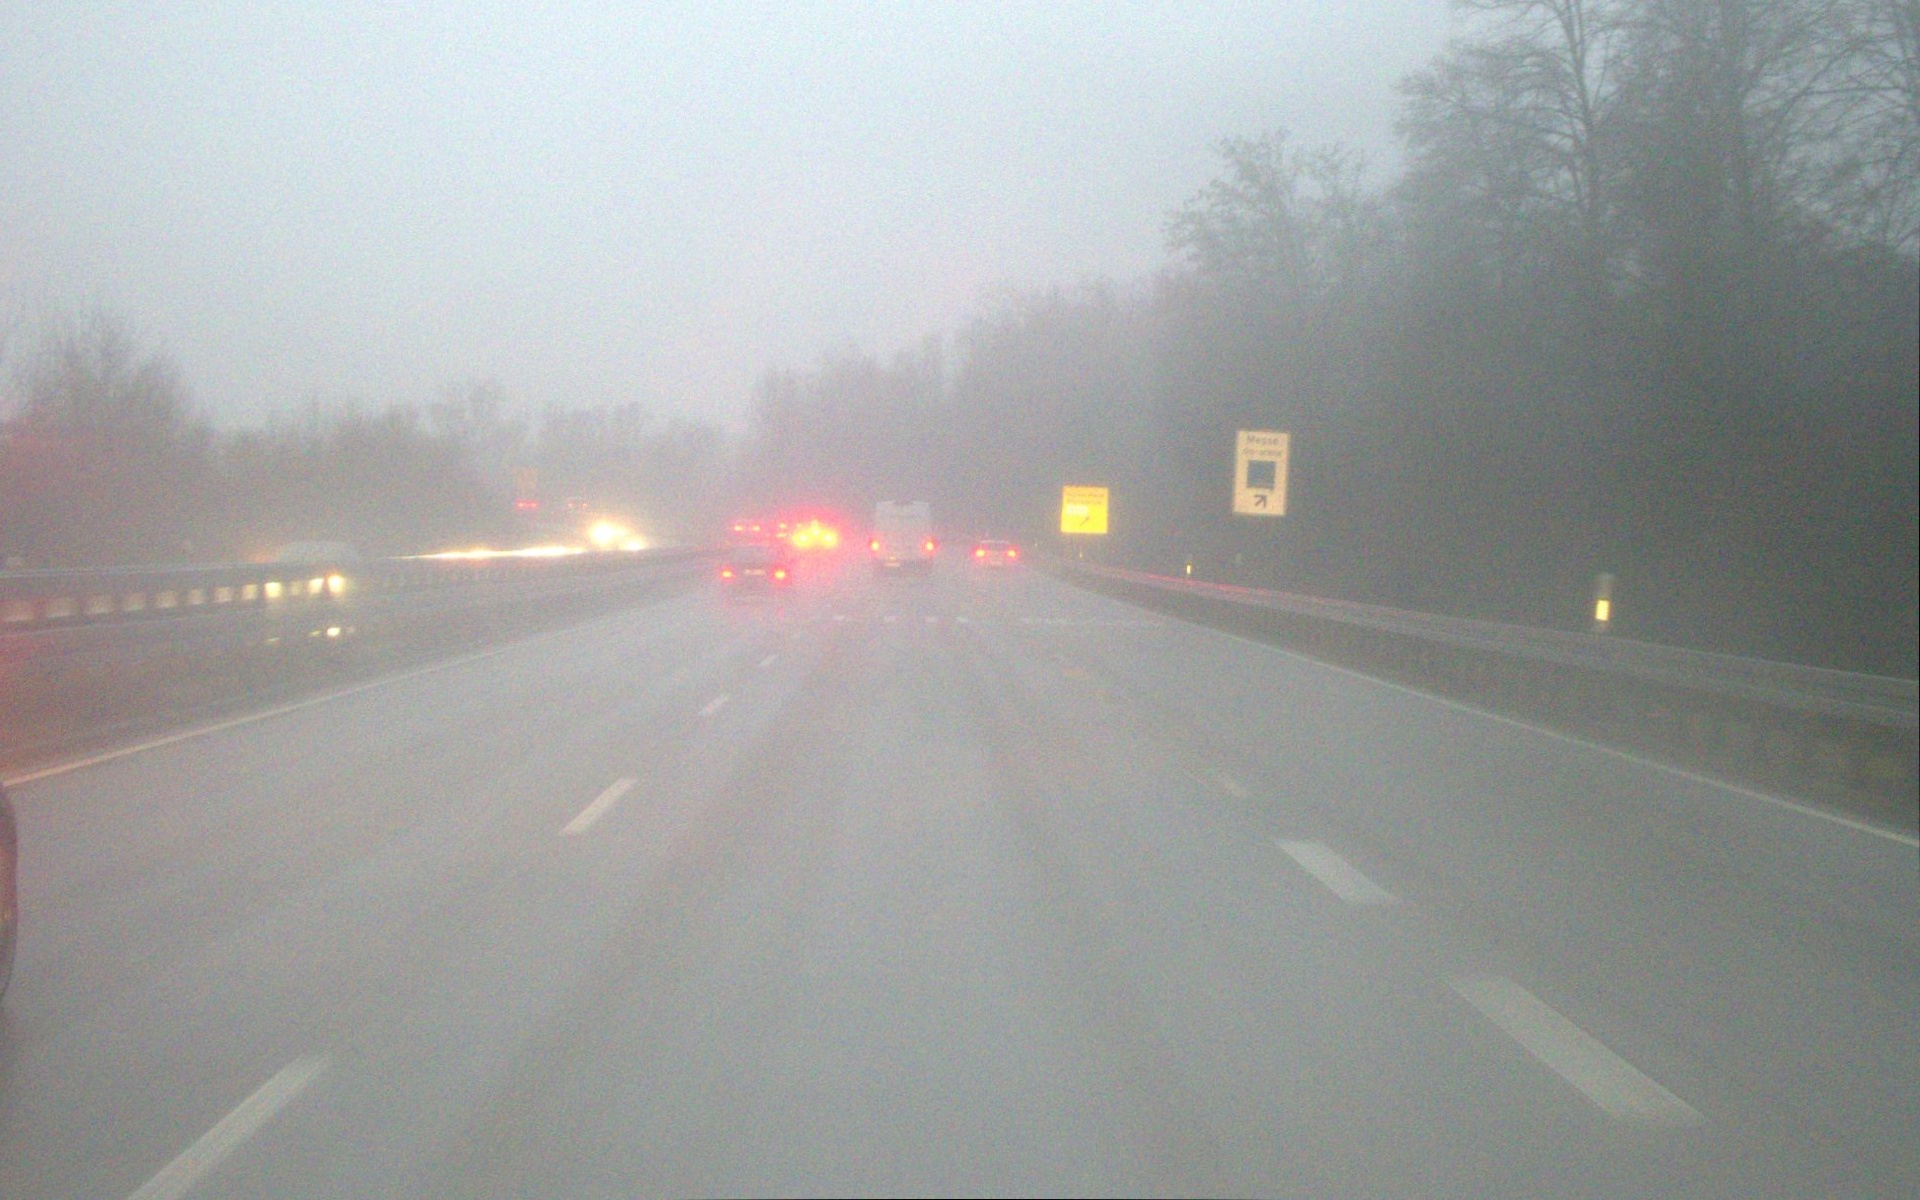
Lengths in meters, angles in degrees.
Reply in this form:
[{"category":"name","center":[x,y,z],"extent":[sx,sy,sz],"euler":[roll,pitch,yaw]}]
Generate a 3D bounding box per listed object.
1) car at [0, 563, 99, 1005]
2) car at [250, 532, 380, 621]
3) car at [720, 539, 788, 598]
[{"category":"car","center":[-3.804,0.568,10.058],"extent":[1.625,1.387,4.000],"euler":[2,1,-2]},{"category":"car","center":[-12.136,-0.466,64.906],"extent":[1.740,1.634,4.000],"euler":[0,1,-1]},{"category":"car","center":[-4.876,-0.762,81.468],"extent":[1.416,1.312,3.083],"euler":[2,1,-1]}]
